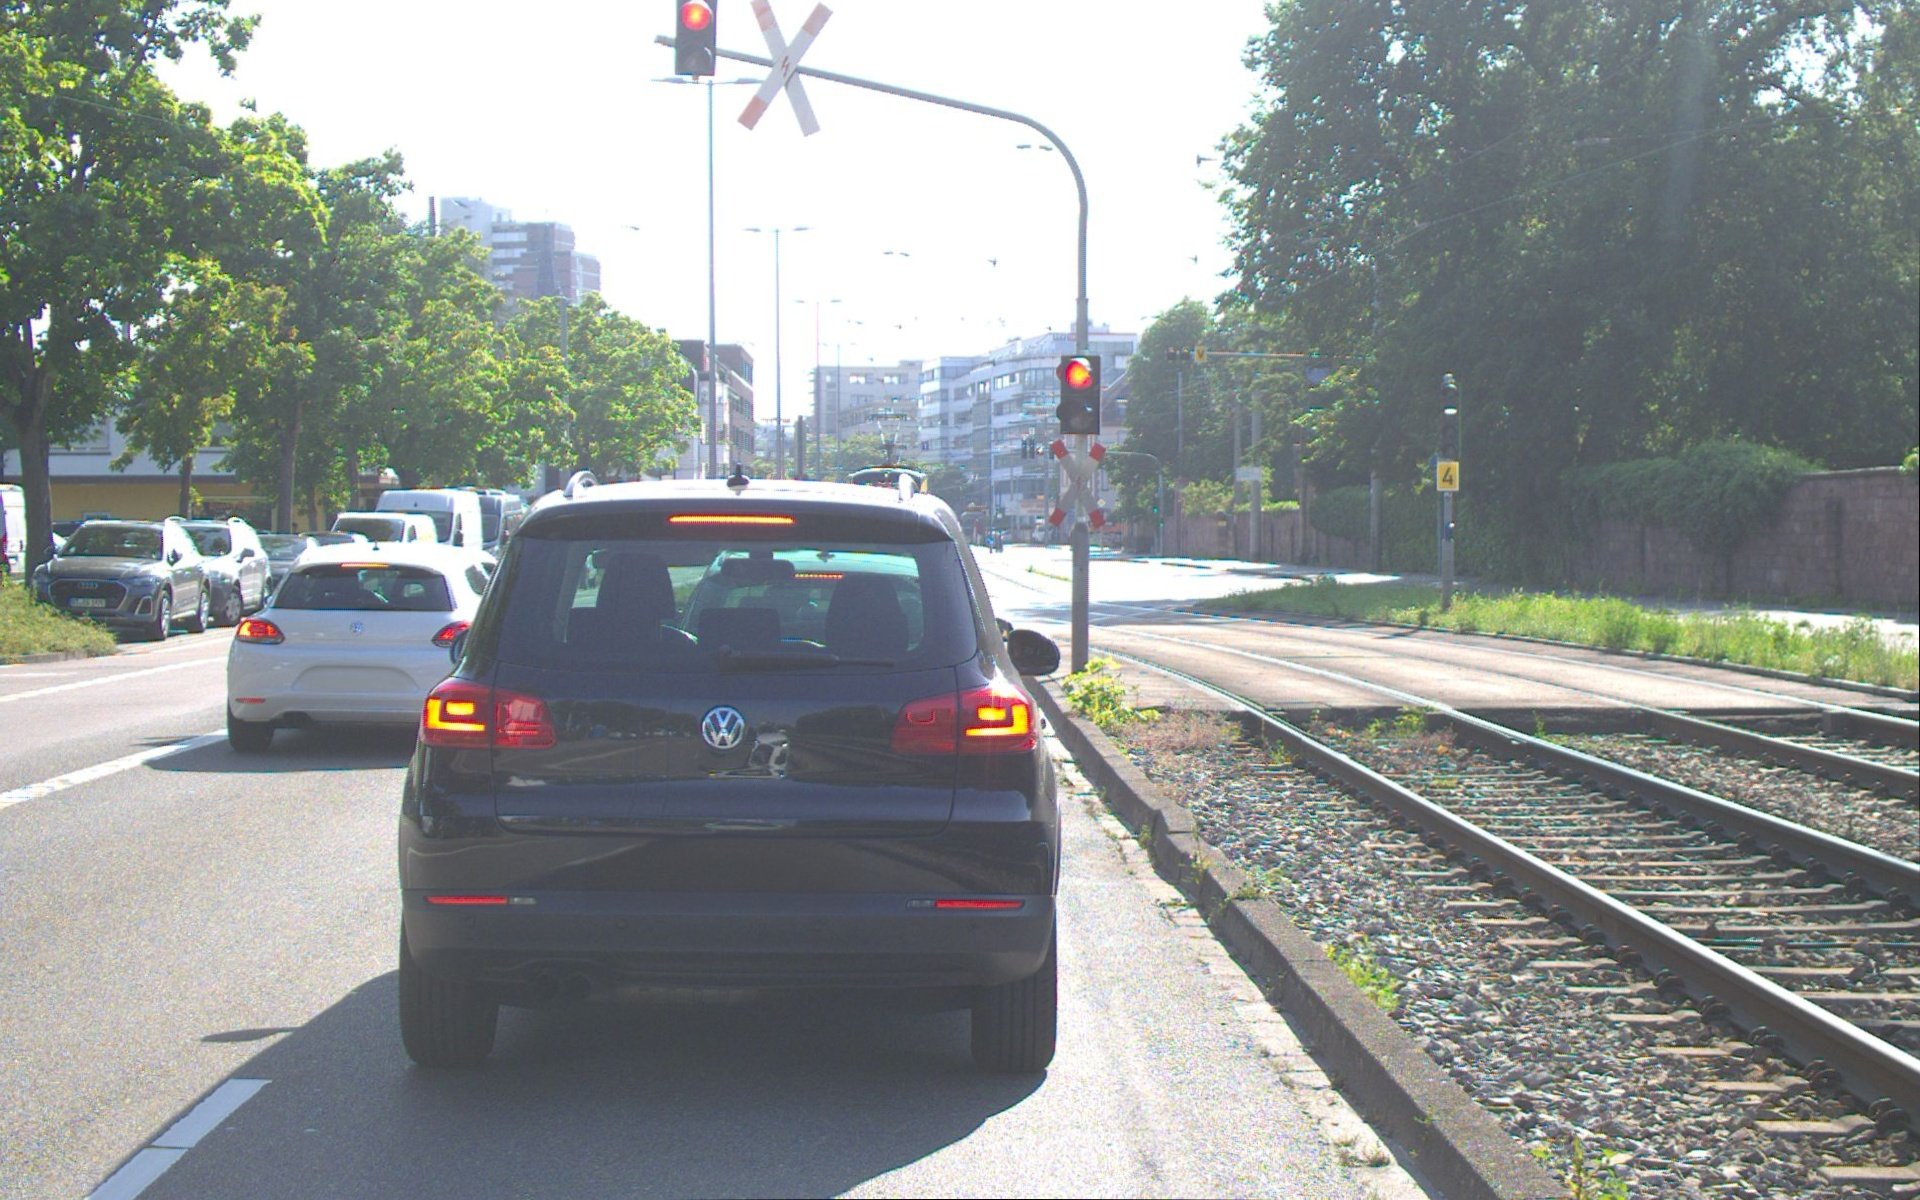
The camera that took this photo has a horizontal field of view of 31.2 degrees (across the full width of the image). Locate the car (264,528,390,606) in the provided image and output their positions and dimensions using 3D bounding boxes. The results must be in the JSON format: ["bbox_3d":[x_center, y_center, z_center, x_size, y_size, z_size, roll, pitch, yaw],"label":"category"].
[{"bbox_3d":[-12.423,-0.675,67.663,1.732,1.445,3.735,0,2,1],"label":"car"}]

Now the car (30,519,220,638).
[{"bbox_3d":[-12.102,-0.349,50.046,1.732,1.652,4.000,0,1,1],"label":"car"}]

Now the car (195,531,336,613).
[{"bbox_3d":[-12.446,-0.523,61.782,1.732,1.384,3.735,0,2,1],"label":"car"}]

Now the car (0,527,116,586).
[{"bbox_3d":[-22.734,-1.064,83.657,3.986,1.392,1.738,0,1,-4],"label":"car"}]

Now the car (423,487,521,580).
[{"bbox_3d":[-12.236,-1.679,86.473,1.732,2.261,4.645,0,1,1],"label":"car"}]

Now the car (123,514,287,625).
[{"bbox_3d":[-12.180,-0.527,55.684,1.732,1.689,4.000,0,2,1],"label":"car"}]

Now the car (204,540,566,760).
[{"bbox_3d":[-3.862,0.283,23.722,1.864,1.343,4.000,1,1,-1],"label":"car"}]

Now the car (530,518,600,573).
[{"bbox_3d":[-12.558,-1.746,109.508,1.732,1.689,4.000,0,2,1],"label":"car"}]

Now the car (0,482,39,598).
[{"bbox_3d":[-22.464,-1.257,72.772,5.375,2.415,2.088,0,1,0],"label":"car"}]

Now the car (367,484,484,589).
[{"bbox_3d":[-12.347,-1.485,79.645,1.863,2.339,4.985,0,1,1],"label":"car"}]

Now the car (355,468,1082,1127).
[{"bbox_3d":[-0.633,0.466,10.673,1.811,1.639,4.000,1,1,-1],"label":"car"}]

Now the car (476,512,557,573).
[{"bbox_3d":[-12.627,-1.661,98.122,1.732,1.689,4.000,0,2,1],"label":"car"}]

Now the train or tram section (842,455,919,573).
[{"bbox_3d":[-2.469,-2.722,108.776,2.326,3.558,8.901,0,1,-1],"label":"train or tram section"}]

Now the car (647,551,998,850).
[{"bbox_3d":[-0.677,0.451,18.422,1.669,1.382,4.000,0,1,-1],"label":"car"}]

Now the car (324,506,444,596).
[{"bbox_3d":[-12.184,-1.066,72.977,1.732,1.853,4.489,0,1,1],"label":"car"}]
